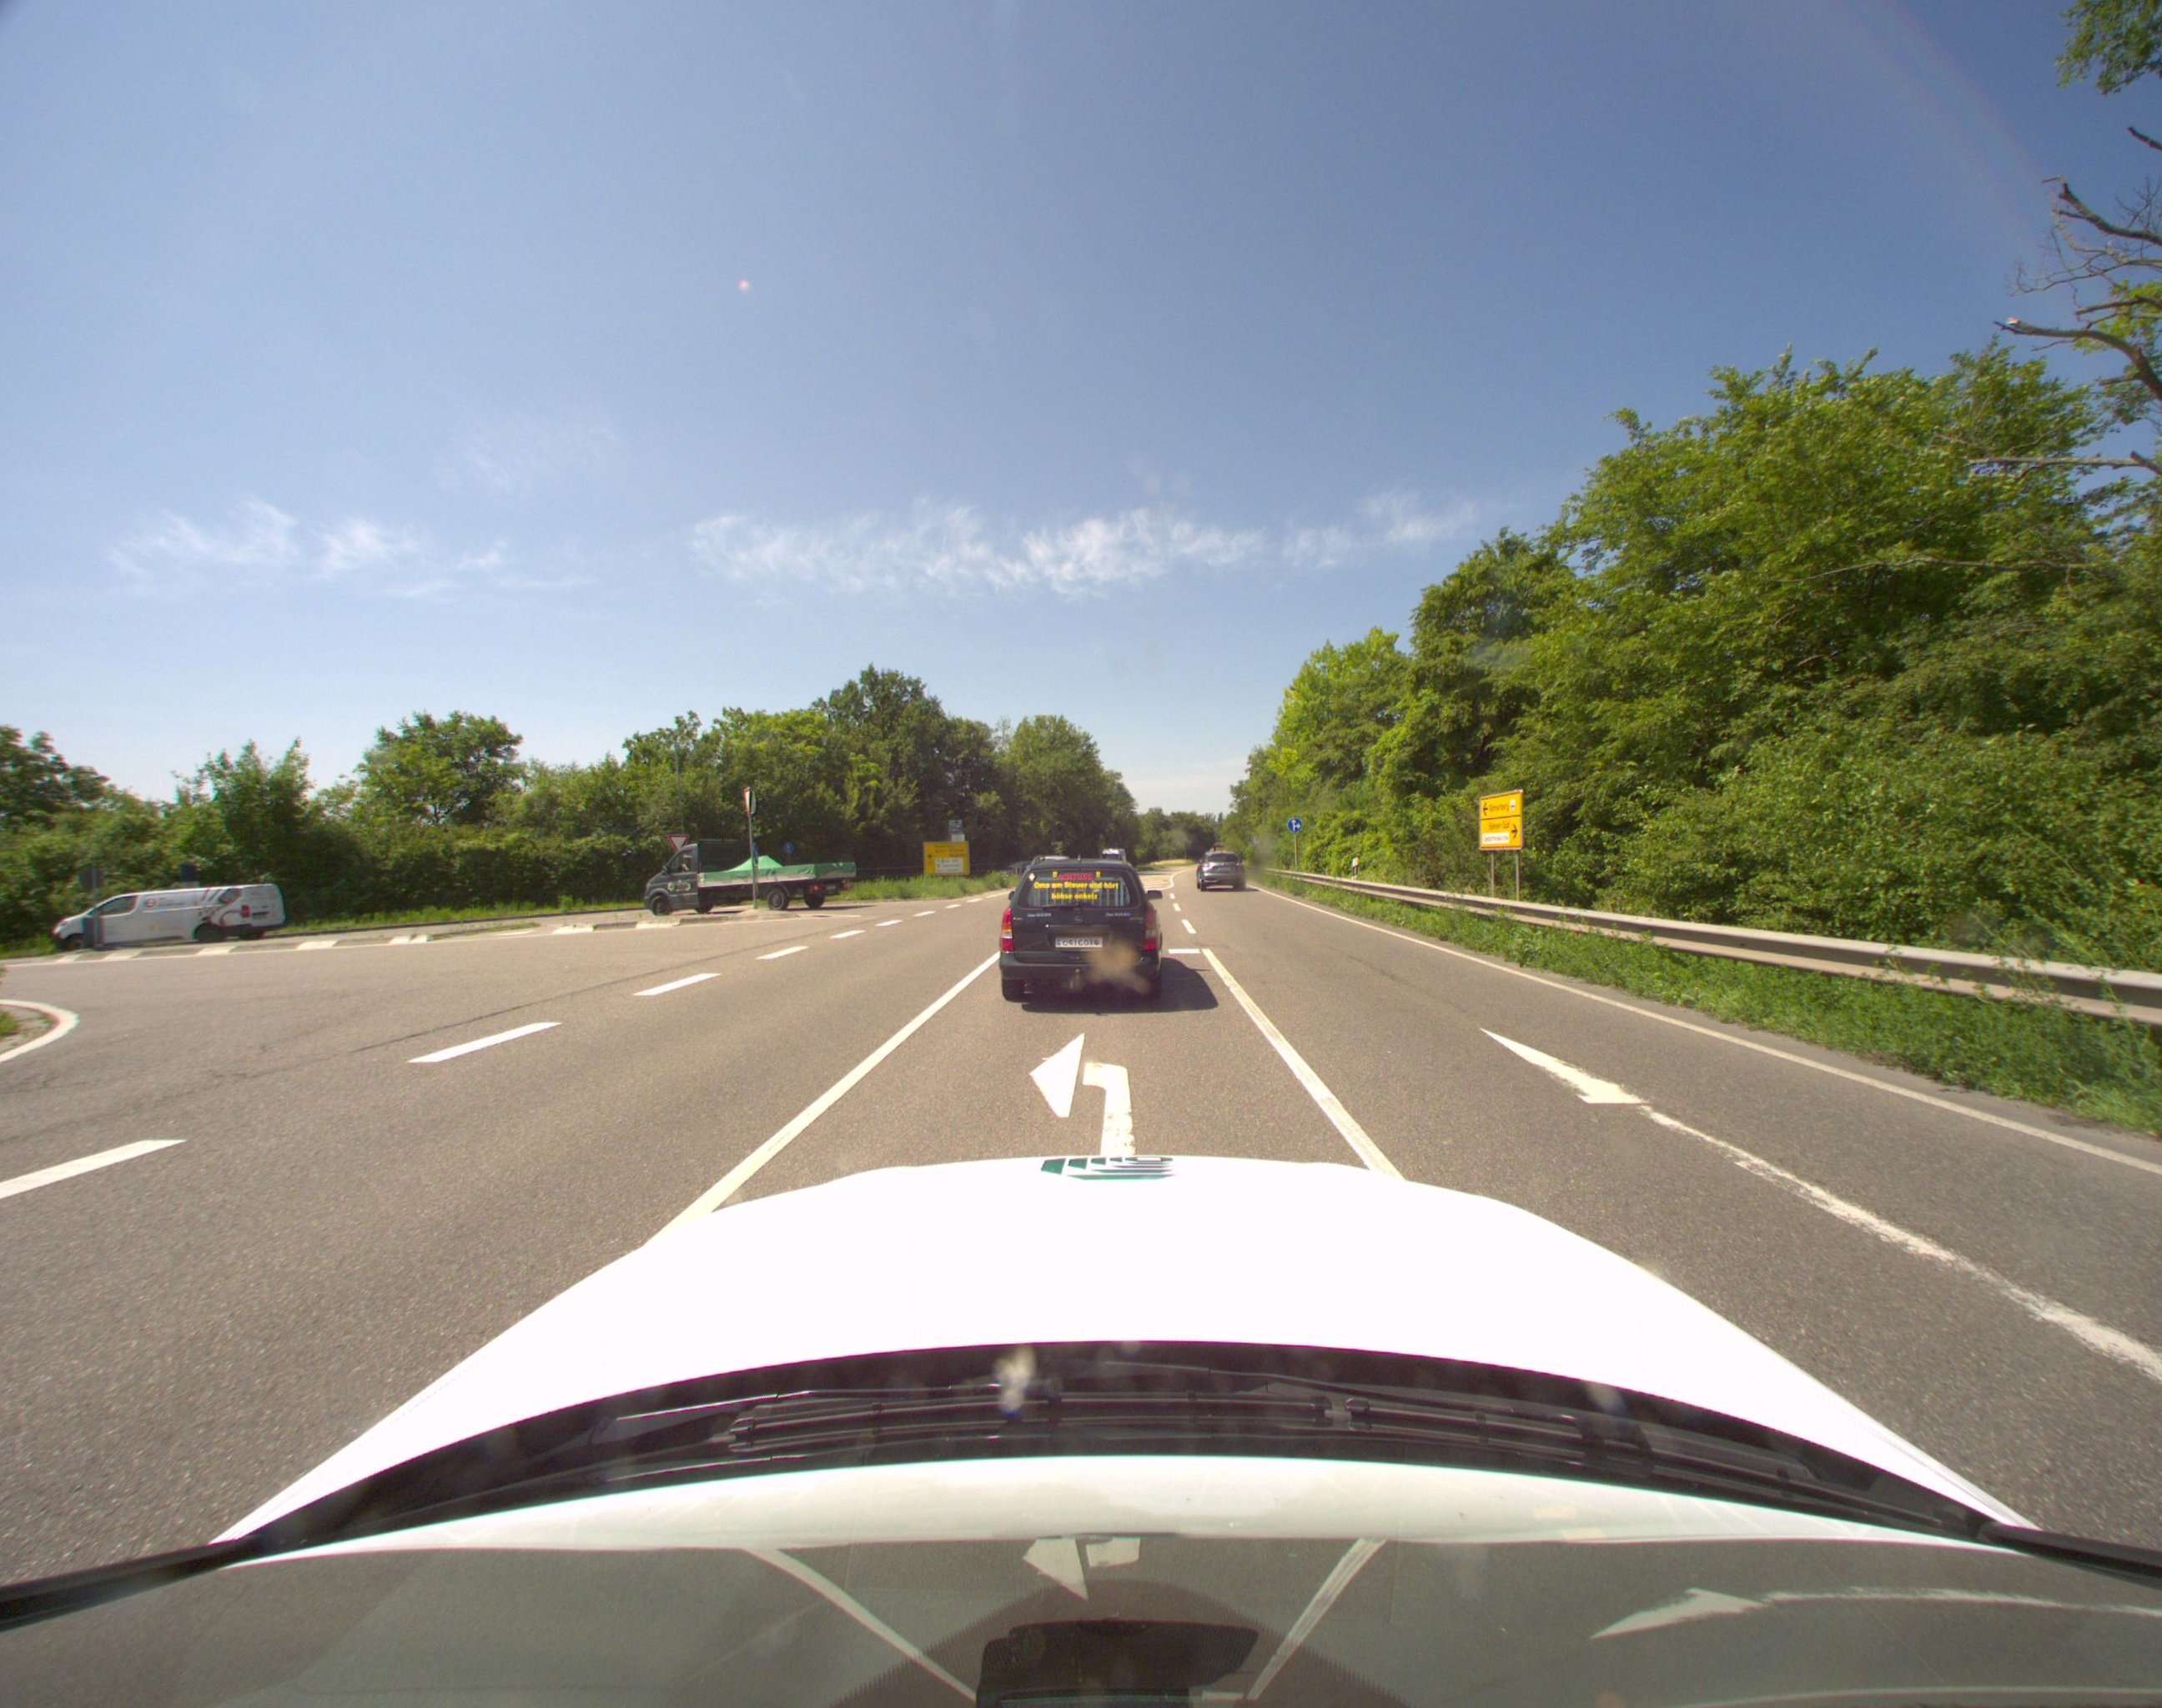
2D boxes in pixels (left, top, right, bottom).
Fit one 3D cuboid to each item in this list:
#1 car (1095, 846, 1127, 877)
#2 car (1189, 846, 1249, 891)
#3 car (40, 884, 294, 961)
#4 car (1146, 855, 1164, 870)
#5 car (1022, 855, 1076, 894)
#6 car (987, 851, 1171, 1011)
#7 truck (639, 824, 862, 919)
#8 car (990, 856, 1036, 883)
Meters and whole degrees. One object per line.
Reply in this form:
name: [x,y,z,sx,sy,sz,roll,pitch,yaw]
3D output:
car: [2.998,0.680,79.600,2.091,2.850,6.032,-1,0,12]
car: [5.532,0.541,33.058,1.836,1.684,4.001,-1,0,1]
car: [-29.821,2.180,26.809,5.187,1.923,2.006,-4,1,-15]
car: [16.952,1.984,187.109,2.003,3.226,4.769,-2,0,-24]
car: [-1.206,0.773,32.256,1.637,1.419,3.771,-1,0,5]
car: [0.060,0.724,9.578,1.713,1.456,3.800,-1,0,2]
truck: [-10.490,0.586,25.832,6.564,2.565,2.156,-3,-1,17]
car: [-4.640,1.064,56.362,1.658,1.662,4.019,-2,0,18]
